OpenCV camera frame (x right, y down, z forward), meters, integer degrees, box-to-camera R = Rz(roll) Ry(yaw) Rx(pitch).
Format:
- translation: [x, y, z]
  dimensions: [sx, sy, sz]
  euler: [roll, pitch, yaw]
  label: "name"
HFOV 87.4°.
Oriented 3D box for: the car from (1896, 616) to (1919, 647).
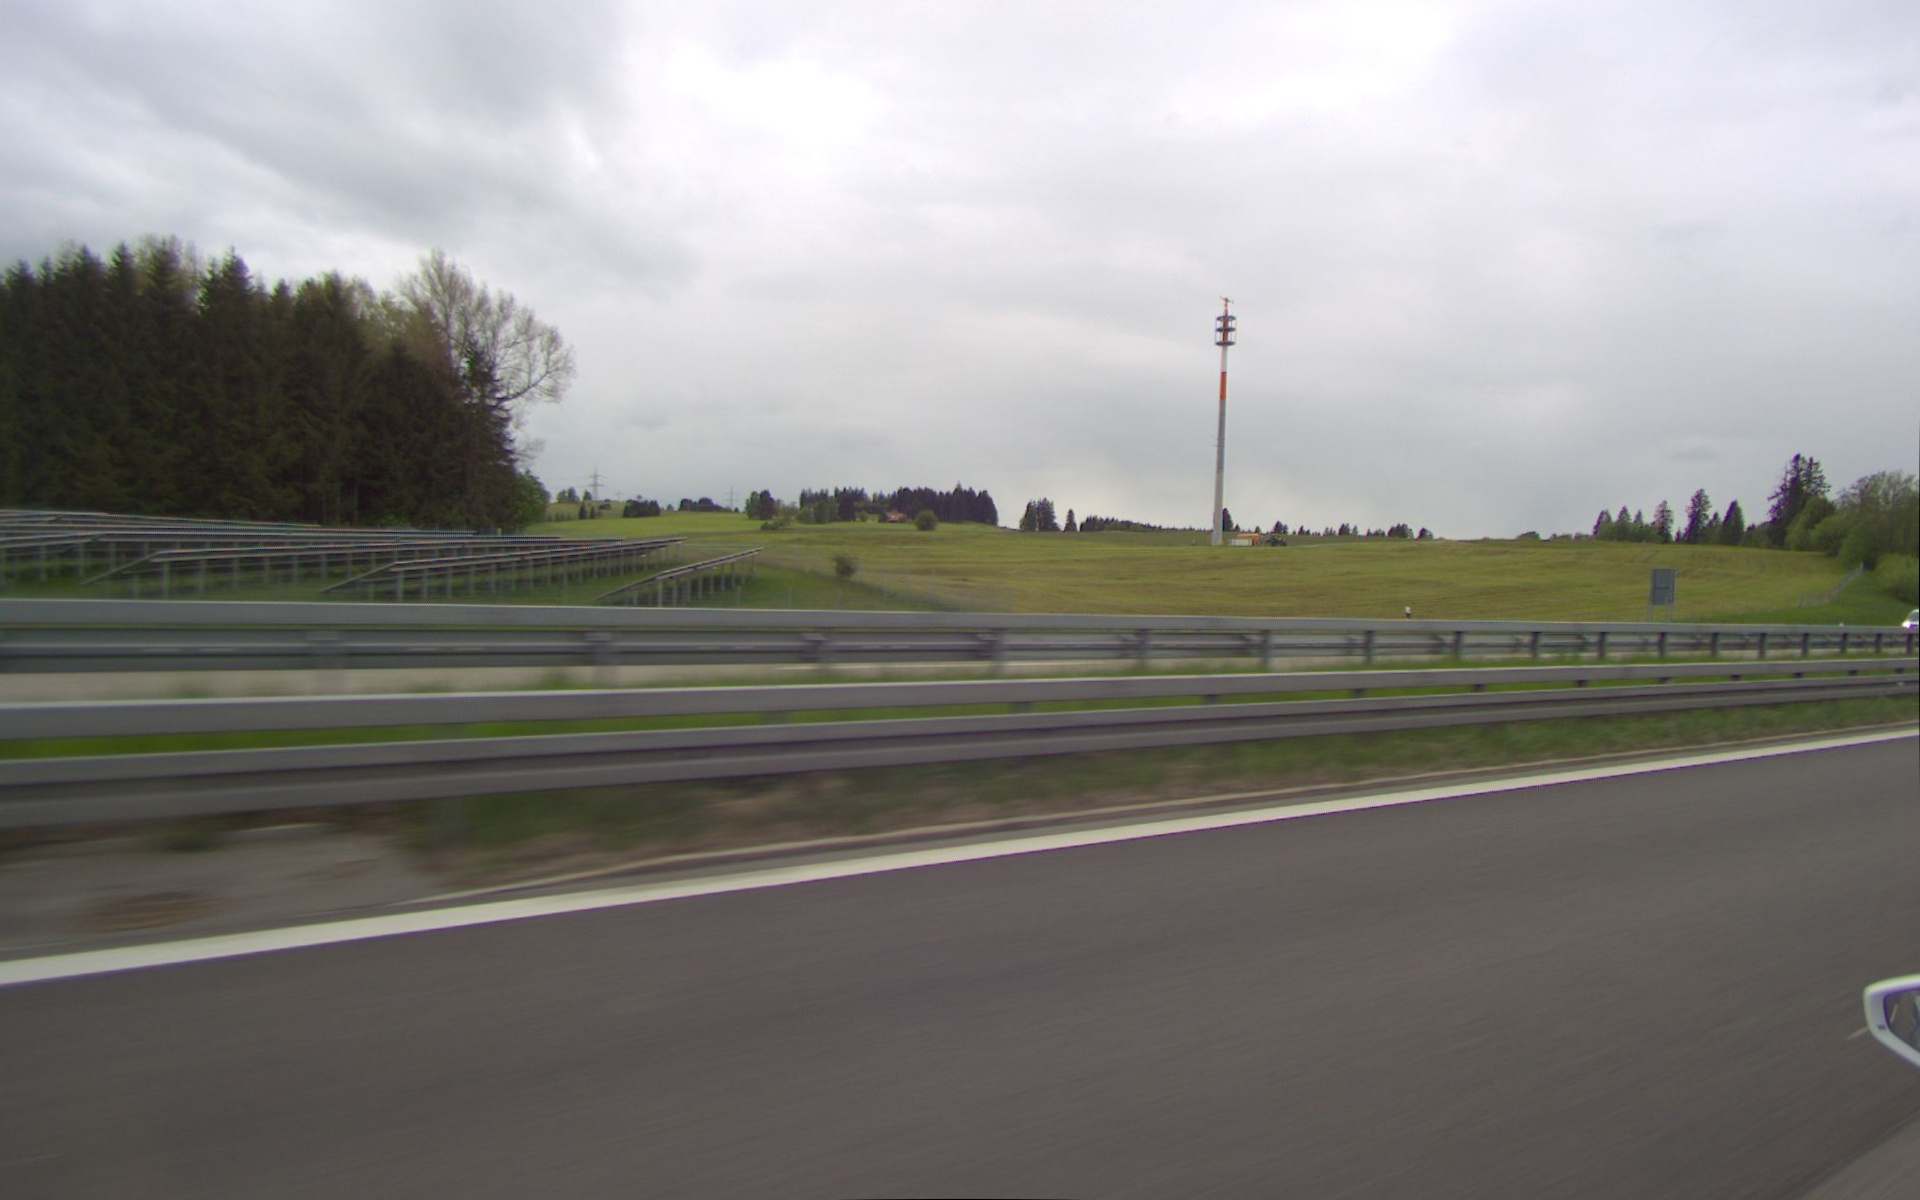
- translation: [56.451, 1.836, 58.311]
  dimensions: [4.577, 1.709, 1.981]
  euler: [1, 3, -33]
  label: "car"
